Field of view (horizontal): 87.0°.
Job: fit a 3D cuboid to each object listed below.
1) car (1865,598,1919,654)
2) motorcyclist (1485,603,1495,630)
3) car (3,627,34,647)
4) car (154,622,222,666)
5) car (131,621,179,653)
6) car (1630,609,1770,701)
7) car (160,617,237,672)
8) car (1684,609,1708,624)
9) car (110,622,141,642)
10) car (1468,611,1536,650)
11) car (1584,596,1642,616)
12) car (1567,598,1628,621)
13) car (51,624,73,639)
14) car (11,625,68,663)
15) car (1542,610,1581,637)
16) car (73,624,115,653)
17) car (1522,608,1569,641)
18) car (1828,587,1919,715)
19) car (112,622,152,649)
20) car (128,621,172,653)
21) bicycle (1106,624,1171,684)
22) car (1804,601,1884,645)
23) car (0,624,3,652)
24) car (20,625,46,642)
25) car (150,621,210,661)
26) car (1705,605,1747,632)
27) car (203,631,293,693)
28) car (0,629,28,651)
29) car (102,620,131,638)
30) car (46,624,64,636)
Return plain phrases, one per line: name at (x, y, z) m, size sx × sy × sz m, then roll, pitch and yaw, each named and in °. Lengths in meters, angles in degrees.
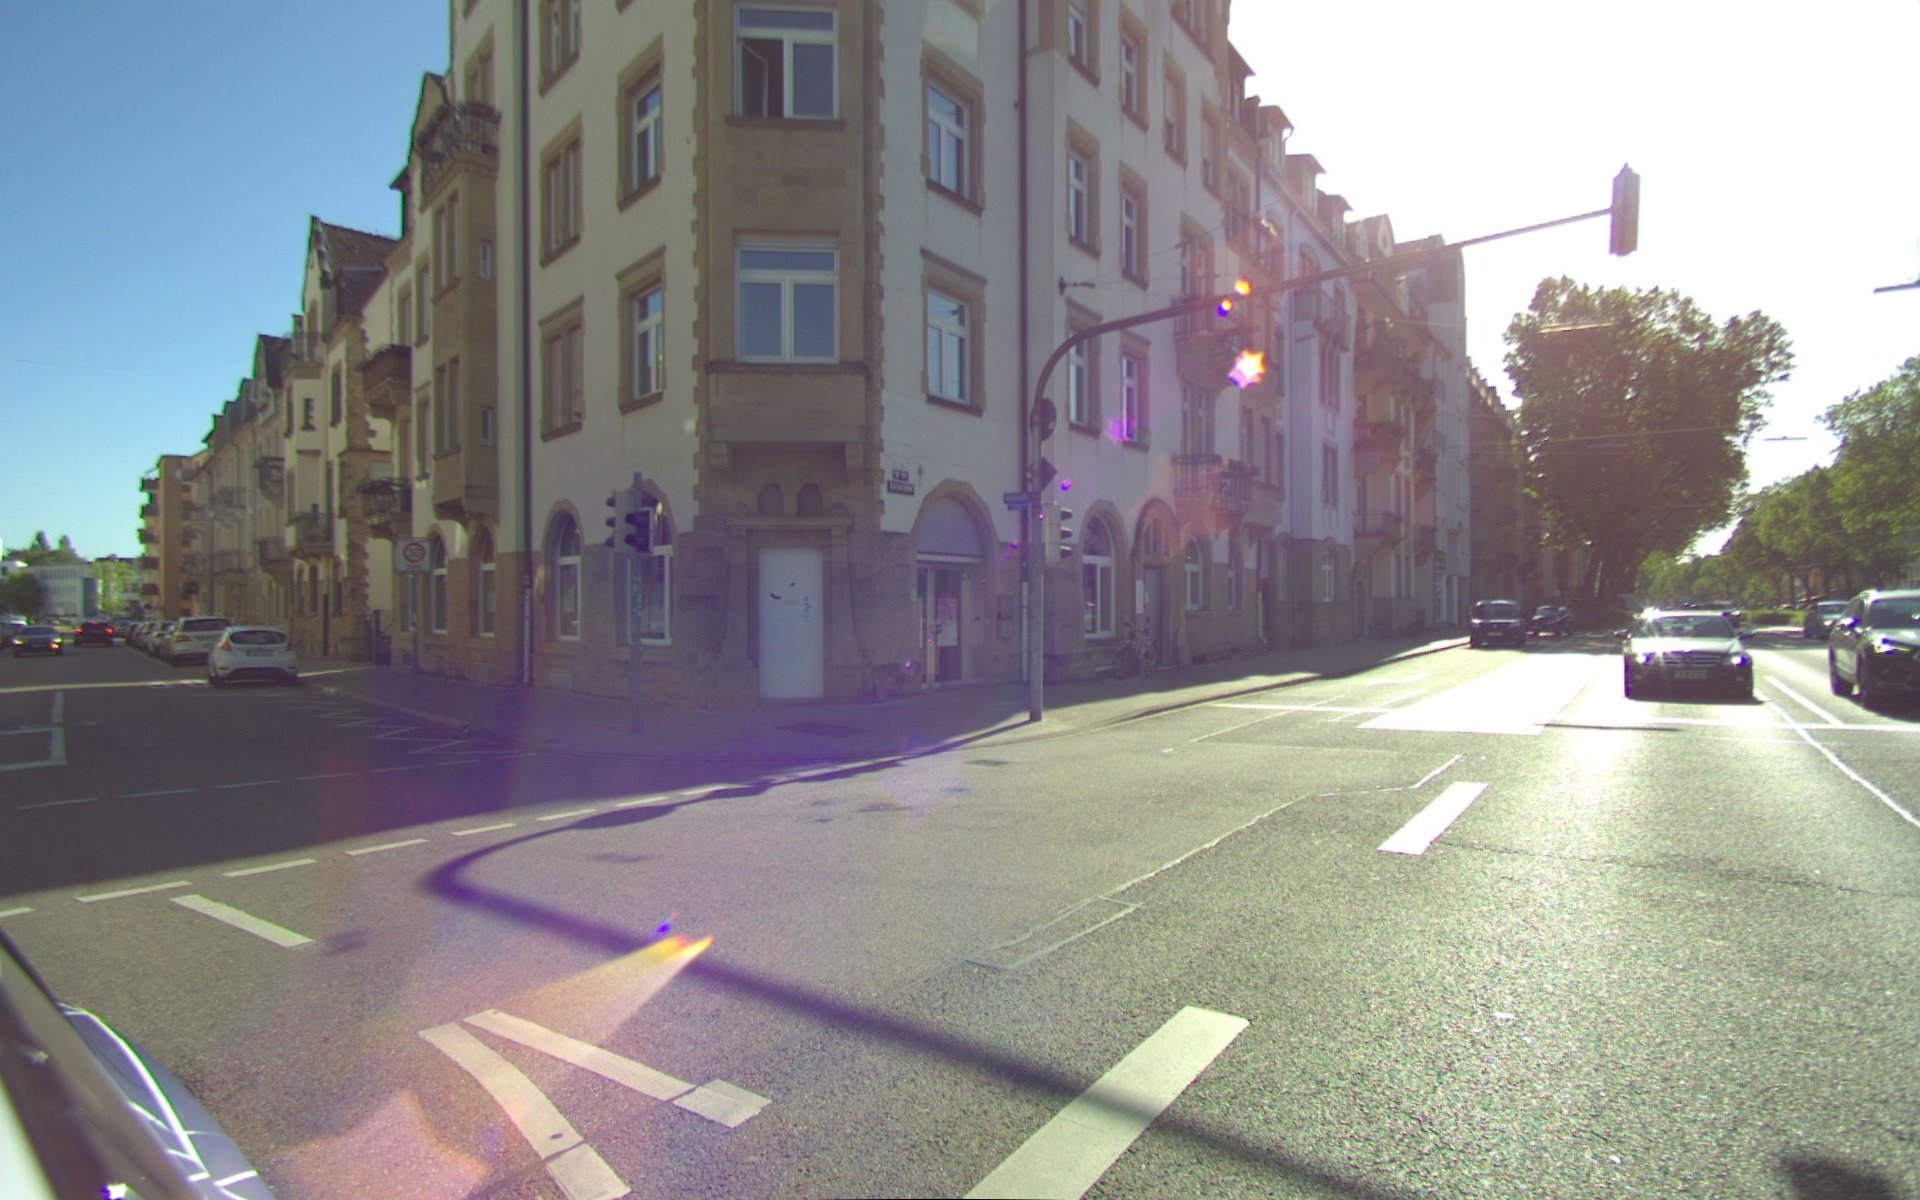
car at (28.052, 0.729, 29.738) m, size 1.763 × 1.541 × 3.971 m, roll -1°, pitch -1°, yaw 36°
motorcyclist at (29.888, 0.924, 57.035) m, size 0.450 × 1.458 × 0.551 m, roll 0°, pitch 0°, yaw 33°
car at (-84.989, 3.330, 91.395) m, size 1.849 × 1.679 × 4.006 m, roll -2°, pitch 1°, yaw -40°
car at (-31.280, 1.722, 40.970) m, size 1.889 × 1.529 × 4.353 m, roll -4°, pitch 2°, yaw -40°
car at (-44.326, 2.005, 55.692) m, size 1.889 × 1.529 × 4.353 m, roll -4°, pitch 2°, yaw -40°
car at (12.828, 0.879, 17.613) m, size 1.763 × 1.400 × 3.849 m, roll -2°, pitch -1°, yaw 36°
car at (-27.376, 1.535, 36.316) m, size 1.889 × 1.671 × 4.353 m, roll -4°, pitch 2°, yaw -40°
car at (78.943, 1.808, 108.552) m, size 1.723 × 1.564 × 3.741 m, roll -1°, pitch -1°, yaw 41°
car at (-74.126, 2.825, 89.861) m, size 1.890 × 1.636 × 4.351 m, roll -4°, pitch 2°, yaw -42°
car at (20.738, 1.142, 38.657) m, size 1.763 × 1.400 × 3.849 m, roll -1°, pitch -1°, yaw 36°
car at (64.849, 0.583, 100.517) m, size 4.525 × 1.718 × 1.847 m, roll -2°, pitch 1°, yaw -3°
car at (52.042, 0.766, 82.660) m, size 3.751 × 1.718 × 1.848 m, roll -2°, pitch 1°, yaw -5°
car at (-108.016, 3.758, 121.791) m, size 1.849 × 1.679 × 4.006 m, roll -2°, pitch 1°, yaw -40°
car at (-44.693, 2.092, 49.197) m, size 1.849 × 1.679 × 4.006 m, roll -2°, pitch 1°, yaw -40°
car at (36.154, 1.404, 60.822) m, size 1.640 × 1.600 × 3.360 m, roll -2°, pitch -2°, yaw 37°
car at (-54.926, 2.407, 64.239) m, size 1.888 × 1.741 × 4.354 m, roll 1°, pitch -2°, yaw -39°
car at (29.835, 1.216, 51.496) m, size 1.640 × 1.600 × 3.360 m, roll -2°, pitch -2°, yaw 37°
car at (14.017, 0.650, 14.494) m, size 1.996 × 1.657 × 4.189 m, roll -3°, pitch -2°, yaw 36°
car at (-55.697, 2.349, 68.041) m, size 1.889 × 1.636 × 4.353 m, roll -4°, pitch 2°, yaw -41°
car at (-48.507, 2.182, 60.586) m, size 1.889 × 1.636 × 4.353 m, roll -4°, pitch 2°, yaw -40°
bicycle at (3.651, 1.078, 20.576) m, size 0.609 × 1.142 × 1.789 m, roll -1°, pitch -1°, yaw 34°
car at (33.828, 0.864, 38.824) m, size 1.761 × 1.541 × 3.851 m, roll -3°, pitch -2°, yaw 34°
car at (-59.172, 2.358, 61.150) m, size 1.807 × 1.671 × 3.823 m, roll -3°, pitch 0°, yaw -43°
car at (-100.211, 3.644, 109.441) m, size 1.849 × 1.679 × 4.006 m, roll -2°, pitch 1°, yaw -40°
car at (-35.065, 1.801, 45.453) m, size 1.889 × 1.529 × 4.353 m, roll -4°, pitch 2°, yaw -40°
car at (46.074, 1.070, 60.871) m, size 1.723 × 1.564 × 3.945 m, roll -1°, pitch -1°, yaw 41°
car at (-17.667, 1.480, 25.045) m, size 1.533 × 1.422 × 3.577 m, roll 3°, pitch -3°, yaw -39°
car at (-81.067, 3.401, 86.472) m, size 1.849 × 1.679 × 4.006 m, roll -2°, pitch 1°, yaw -40°
car at (-81.356, 2.774, 97.603) m, size 1.890 × 1.636 × 4.351 m, roll -4°, pitch 2°, yaw -42°
car at (-132.492, 4.340, 148.169) m, size 1.849 × 1.679 × 4.006 m, roll -2°, pitch 1°, yaw -40°
